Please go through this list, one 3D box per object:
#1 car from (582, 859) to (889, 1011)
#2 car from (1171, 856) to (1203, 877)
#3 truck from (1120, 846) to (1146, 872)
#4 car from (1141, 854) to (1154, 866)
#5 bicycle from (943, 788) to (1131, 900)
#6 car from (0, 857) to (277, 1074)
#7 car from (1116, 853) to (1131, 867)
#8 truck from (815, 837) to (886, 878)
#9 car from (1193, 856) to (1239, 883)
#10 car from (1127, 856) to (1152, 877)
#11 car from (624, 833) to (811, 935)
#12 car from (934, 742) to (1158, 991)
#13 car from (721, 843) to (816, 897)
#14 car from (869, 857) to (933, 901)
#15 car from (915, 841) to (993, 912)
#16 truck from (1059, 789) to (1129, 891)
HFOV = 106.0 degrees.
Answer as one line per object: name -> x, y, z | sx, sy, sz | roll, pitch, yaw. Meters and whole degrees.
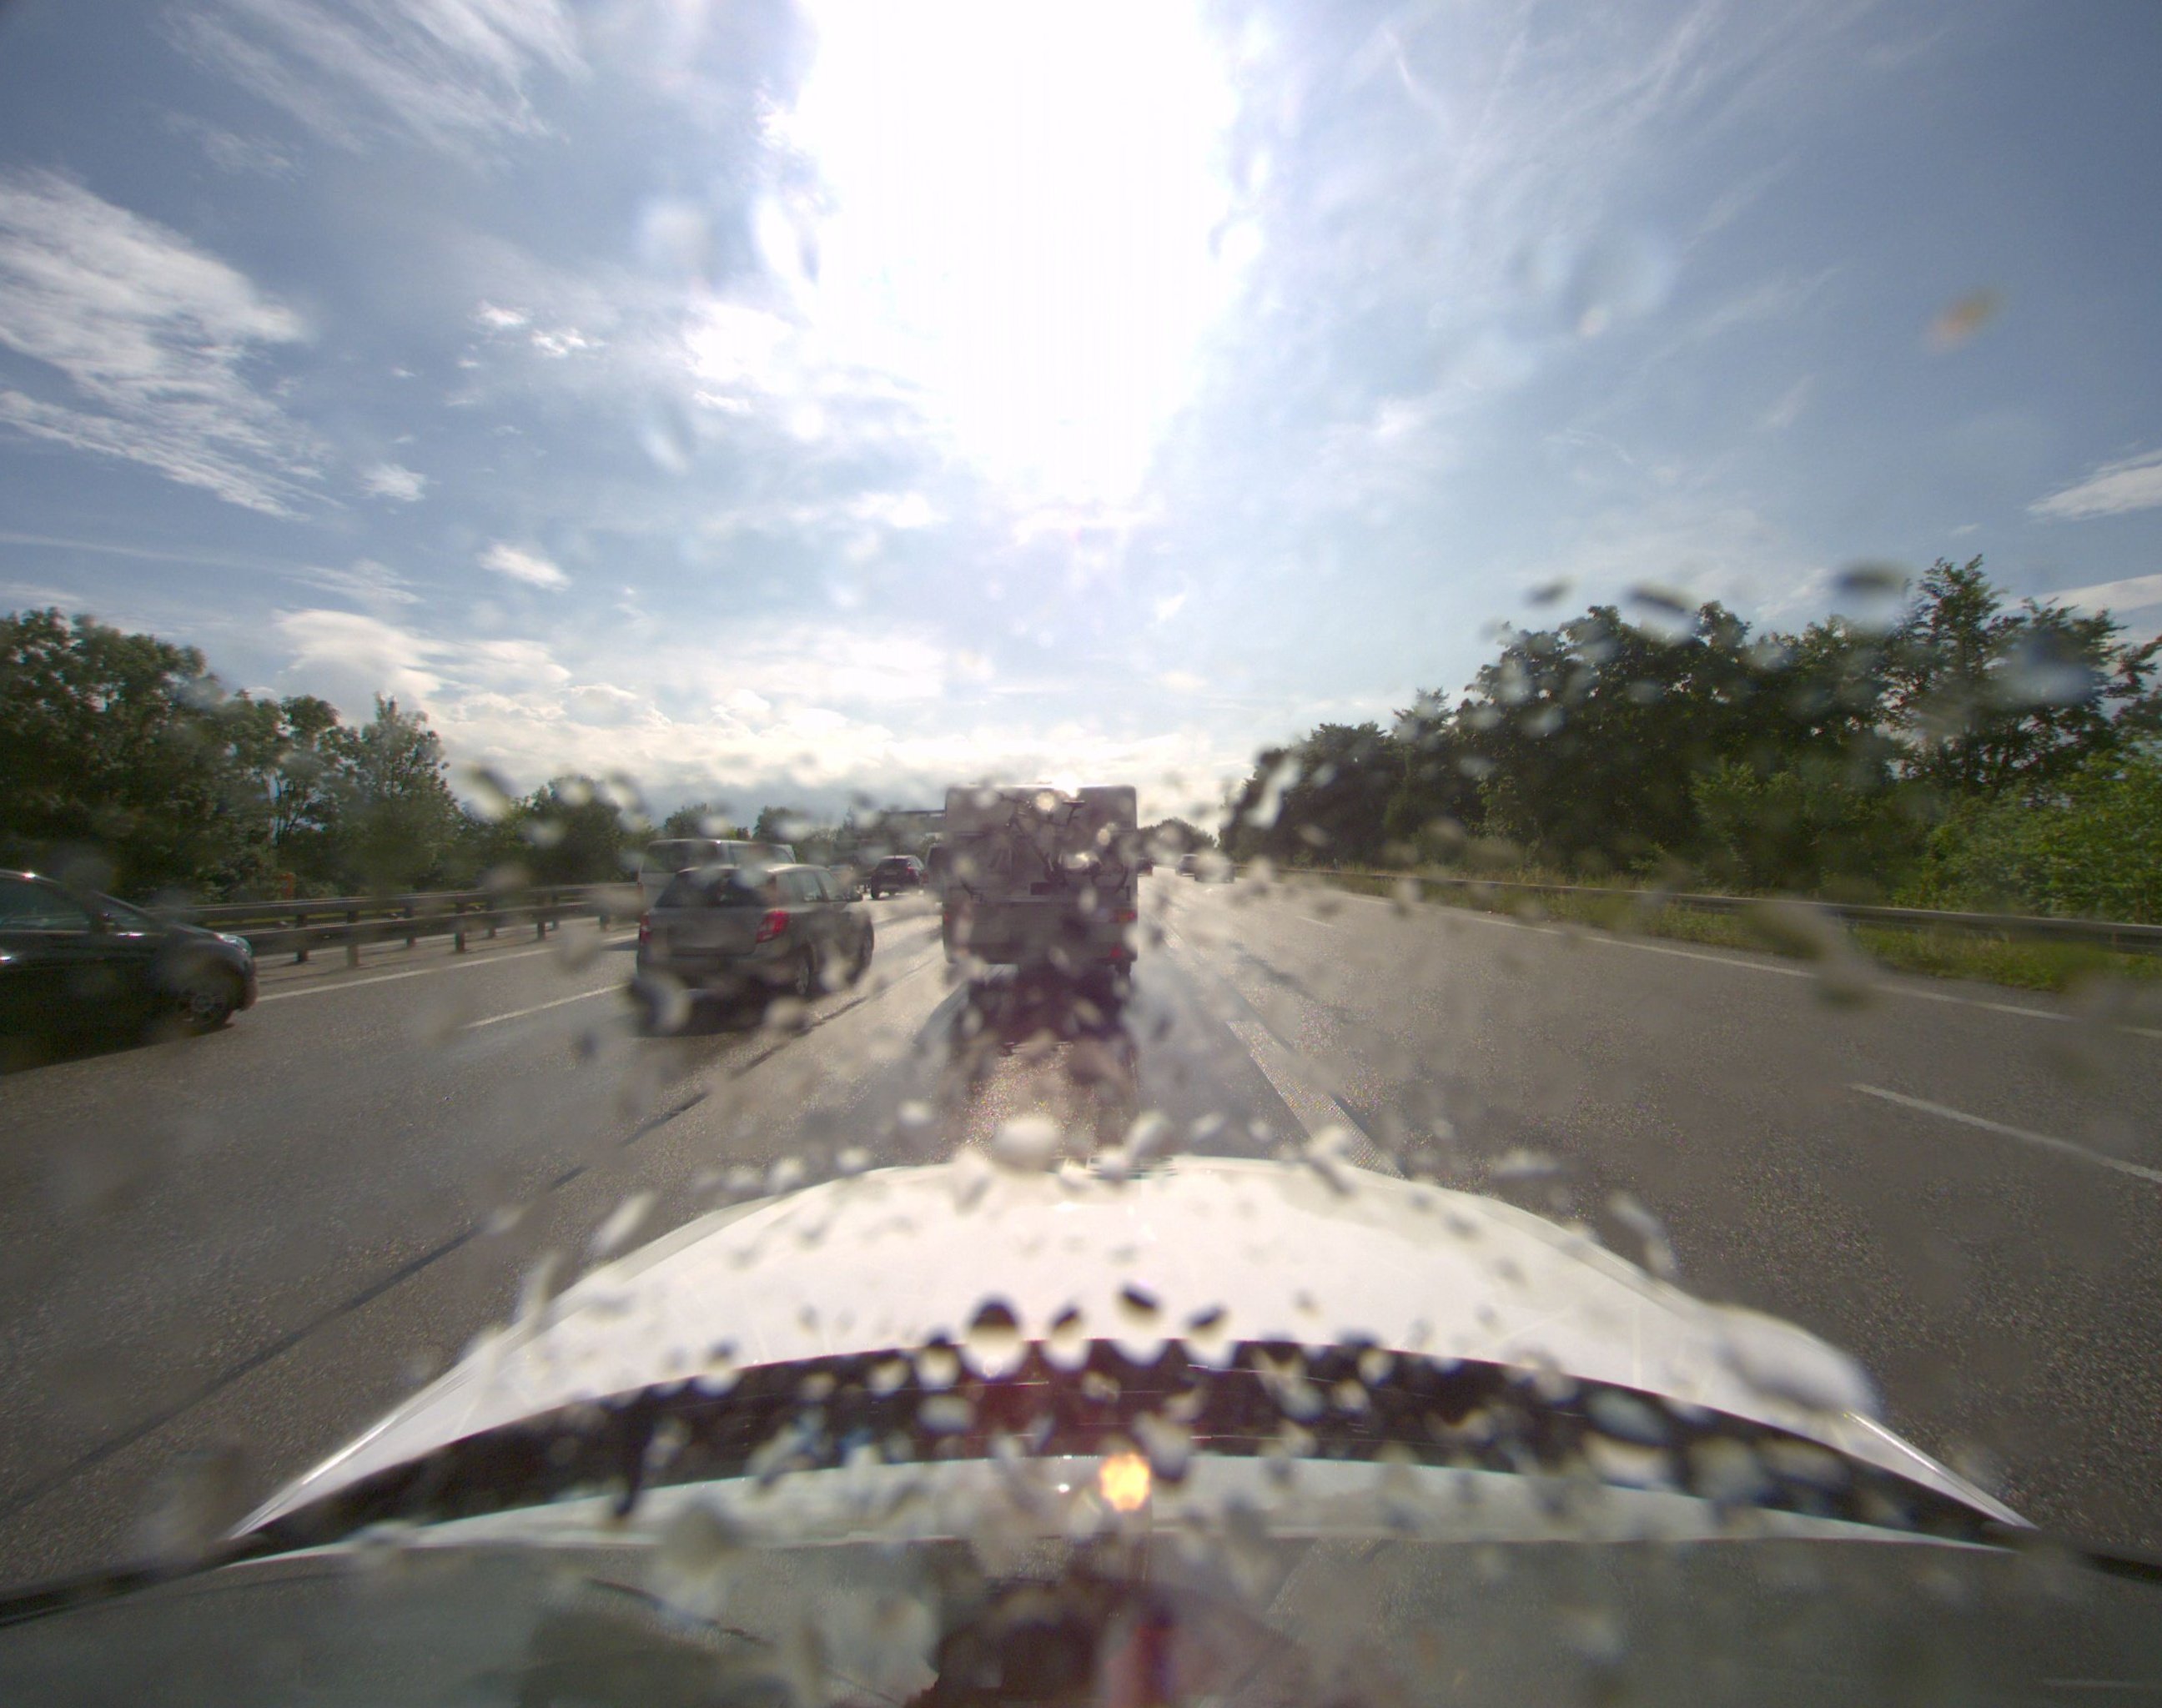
car -> -3.854, 0.814, 9.919 | 1.980, 1.458, 3.828 | -1, 0, 2
car -> 8.308, 0.987, 64.116 | 1.872, 1.629, 3.996 | 0, -1, -3
truck -> 5.157, 0.467, 81.604 | 2.406, 2.444, 6.055 | -1, 0, 2
car -> 9.770, 0.845, 120.614 | 1.713, 1.684, 4.002 | -1, 0, 2
bicycle -> -0.451, -0.100, 8.580 | 1.926, 1.141, 0.384 | 0, -1, 1
car -> -8.770, 0.824, 5.984 | 1.777, 1.578, 3.916 | -1, 0, 1
car -> 5.271, 0.739, 101.167 | 1.713, 1.684, 4.002 | -1, 0, 2
truck -> -18.078, 0.281, 64.546 | 2.905, 2.987, 8.724 | 0, -1, 1
car -> 7.870, 0.892, 47.843 | 1.872, 1.494, 3.996 | 0, -1, -3
car -> 4.625, 0.988, 64.403 | 1.828, 1.558, 4.002 | 0, -1, 2
car -> -7.800, 0.578, 18.137 | 1.841, 1.934, 5.016 | -1, 0, 1
car -> -0.308, 0.151, 10.777 | 2.401, 2.674, 4.002 | 0, -1, 2
car -> -14.986, 0.743, 39.513 | 2.106, 2.396, 6.104 | -1, 0, 1
car -> -7.201, 0.958, 32.890 | 1.767, 1.662, 3.998 | 0, -1, -1
car -> -3.865, 0.662, 25.399 | 1.871, 2.014, 3.998 | 0, -1, -1
truck -> 0.638, -0.623, 42.535 | 3.135, 4.626, 10.735 | -1, 0, 0
